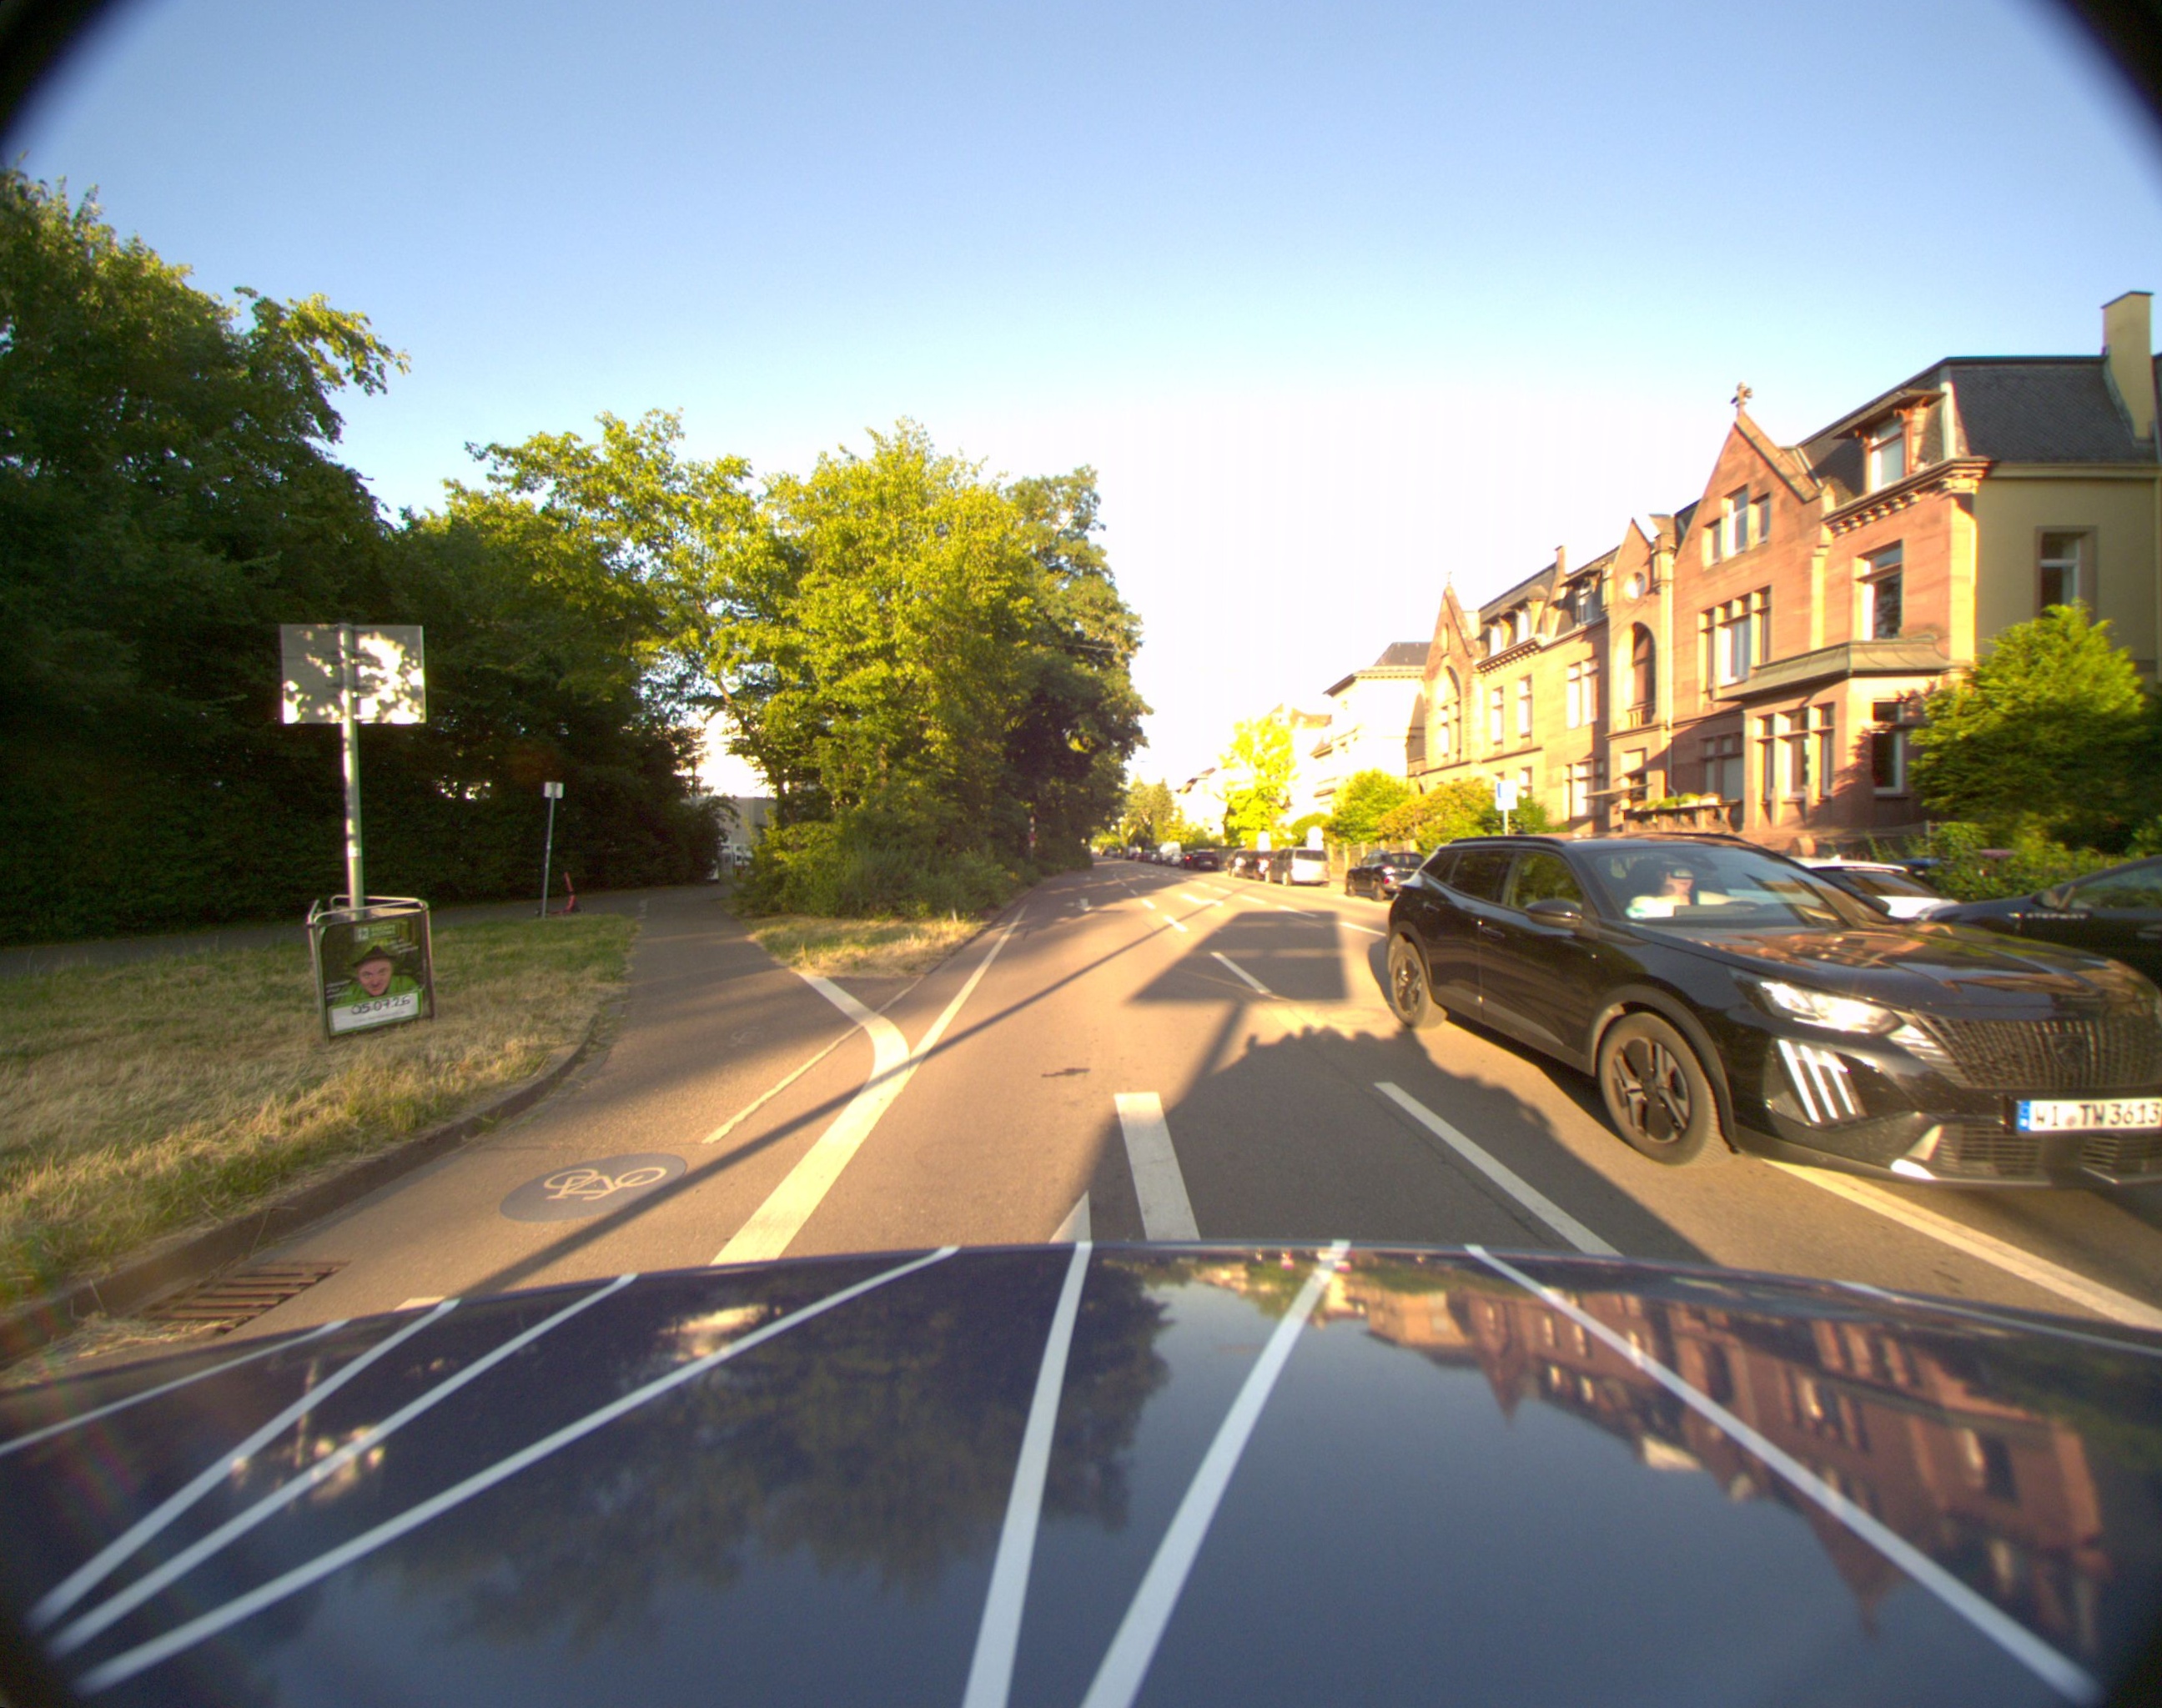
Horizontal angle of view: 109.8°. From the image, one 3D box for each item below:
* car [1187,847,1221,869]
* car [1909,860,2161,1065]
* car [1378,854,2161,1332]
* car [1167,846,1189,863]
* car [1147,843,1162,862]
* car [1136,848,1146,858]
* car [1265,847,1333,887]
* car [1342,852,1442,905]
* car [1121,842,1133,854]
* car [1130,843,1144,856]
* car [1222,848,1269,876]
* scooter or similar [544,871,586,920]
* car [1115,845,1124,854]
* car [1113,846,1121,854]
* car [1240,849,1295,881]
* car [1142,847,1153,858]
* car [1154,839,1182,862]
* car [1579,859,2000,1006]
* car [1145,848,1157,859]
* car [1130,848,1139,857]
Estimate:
[{"bbox_3d":[9.013,0.256,55.940,1.880,1.596,3.722,0,1,1],"label":"car"},{"bbox_3d":[9.023,0.870,5.671,1.631,1.526,3.723,2,1,2],"label":"car"},{"bbox_3d":[3.380,0.781,4.482,1.682,1.527,3.999,0,0,0],"label":"car"},{"bbox_3d":[9.337,0.063,73.425,1.715,1.596,3.853,0,1,1],"label":"car"},{"bbox_3d":[8.949,-0.159,92.723,1.571,2.253,3.800,0,1,1],"label":"car"},{"bbox_3d":[9.076,-0.177,115.071,1.220,1.430,2.515,0,1,1],"label":"car"},{"bbox_3d":[9.126,0.502,32.052,1.716,1.579,3.752,0,1,-1],"label":"car"},{"bbox_3d":[9.185,0.671,22.702,1.631,1.437,3.566,0,1,2],"label":"car"},{"bbox_3d":[9.343,-1.301,155.765,1.999,2.443,5.579,-1,0,-1],"label":"car"},{"bbox_3d":[9.661,-0.700,130.968,2.203,2.201,4.527,0,1,1],"label":"car"},{"bbox_3d":[8.978,0.398,41.686,1.716,1.442,3.722,0,1,-1],"label":"car"},{"bbox_3d":[-11.801,0.931,17.382,0.194,1.079,0.837,-2,0,15],"label":"scooter or similar"},{"bbox_3d":[8.736,-1.037,173.007,1.998,2.002,4.000,-2,1,2],"label":"car"},{"bbox_3d":[9.606,-1.057,203.702,1.998,2.002,4.000,0,1,1],"label":"car"},{"bbox_3d":[9.049,0.502,37.150,1.716,1.442,3.722,0,1,-1],"label":"car"},{"bbox_3d":[8.966,-0.193,102.270,1.327,1.430,2.697,0,1,1],"label":"car"},{"bbox_3d":[9.142,-0.381,80.245,2.231,2.355,5.878,0,1,-1],"label":"car"},{"bbox_3d":[8.938,0.848,10.257,1.608,1.435,4.433,2,1,2],"label":"car"},{"bbox_3d":[9.013,-0.048,98.192,1.292,1.430,2.883,0,1,1],"label":"car"},{"bbox_3d":[8.818,-0.264,125.196,1.220,1.430,2.515,0,1,1],"label":"car"}]
